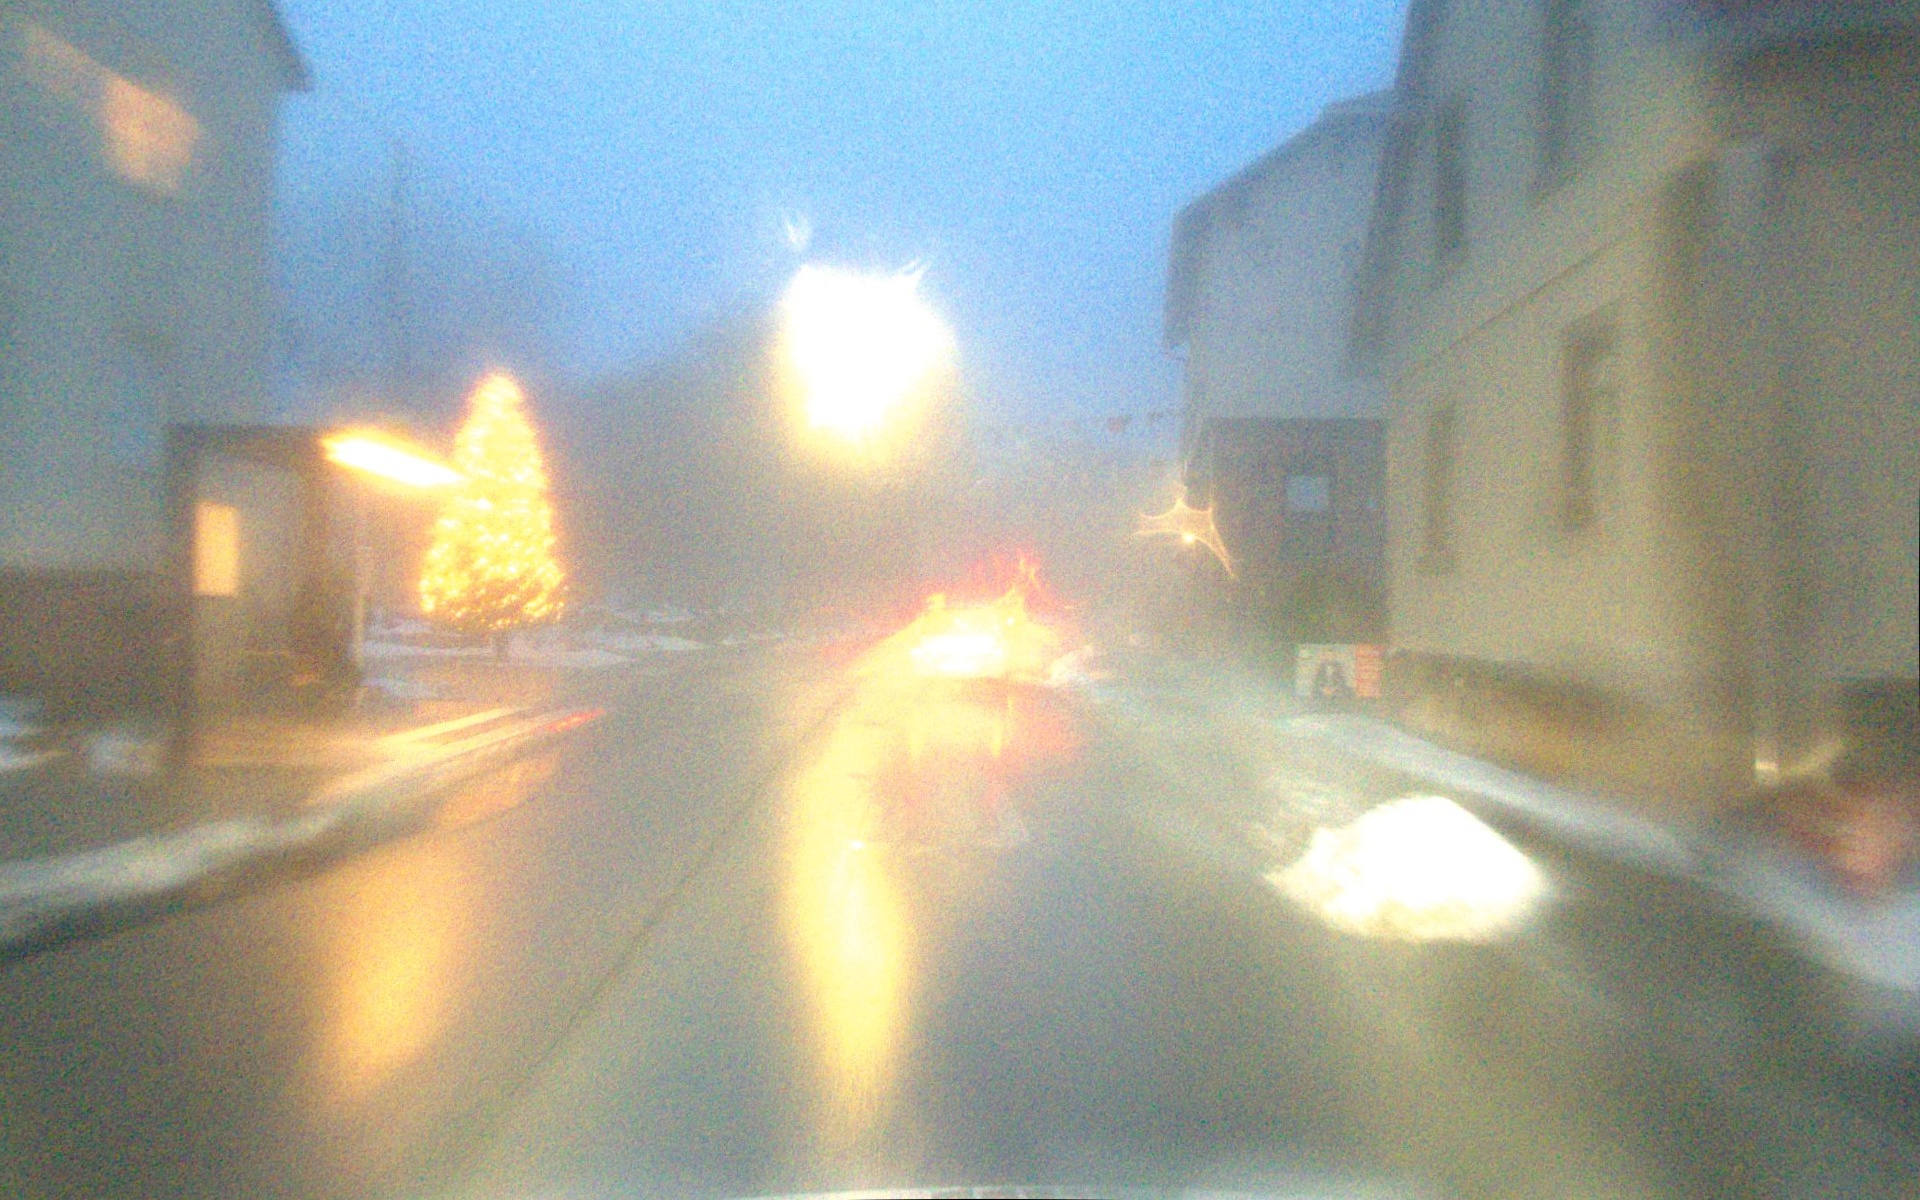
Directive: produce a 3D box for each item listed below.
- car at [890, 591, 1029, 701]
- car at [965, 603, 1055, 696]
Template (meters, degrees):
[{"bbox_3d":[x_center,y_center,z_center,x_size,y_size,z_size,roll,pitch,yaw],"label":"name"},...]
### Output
[{"bbox_3d":[0.081,0.794,27.141,1.952,1.534,4.001,4,-3,3],"label":"car"},{"bbox_3d":[1.288,1.259,40.972,1.952,2.049,4.001,4,-3,4],"label":"car"}]
